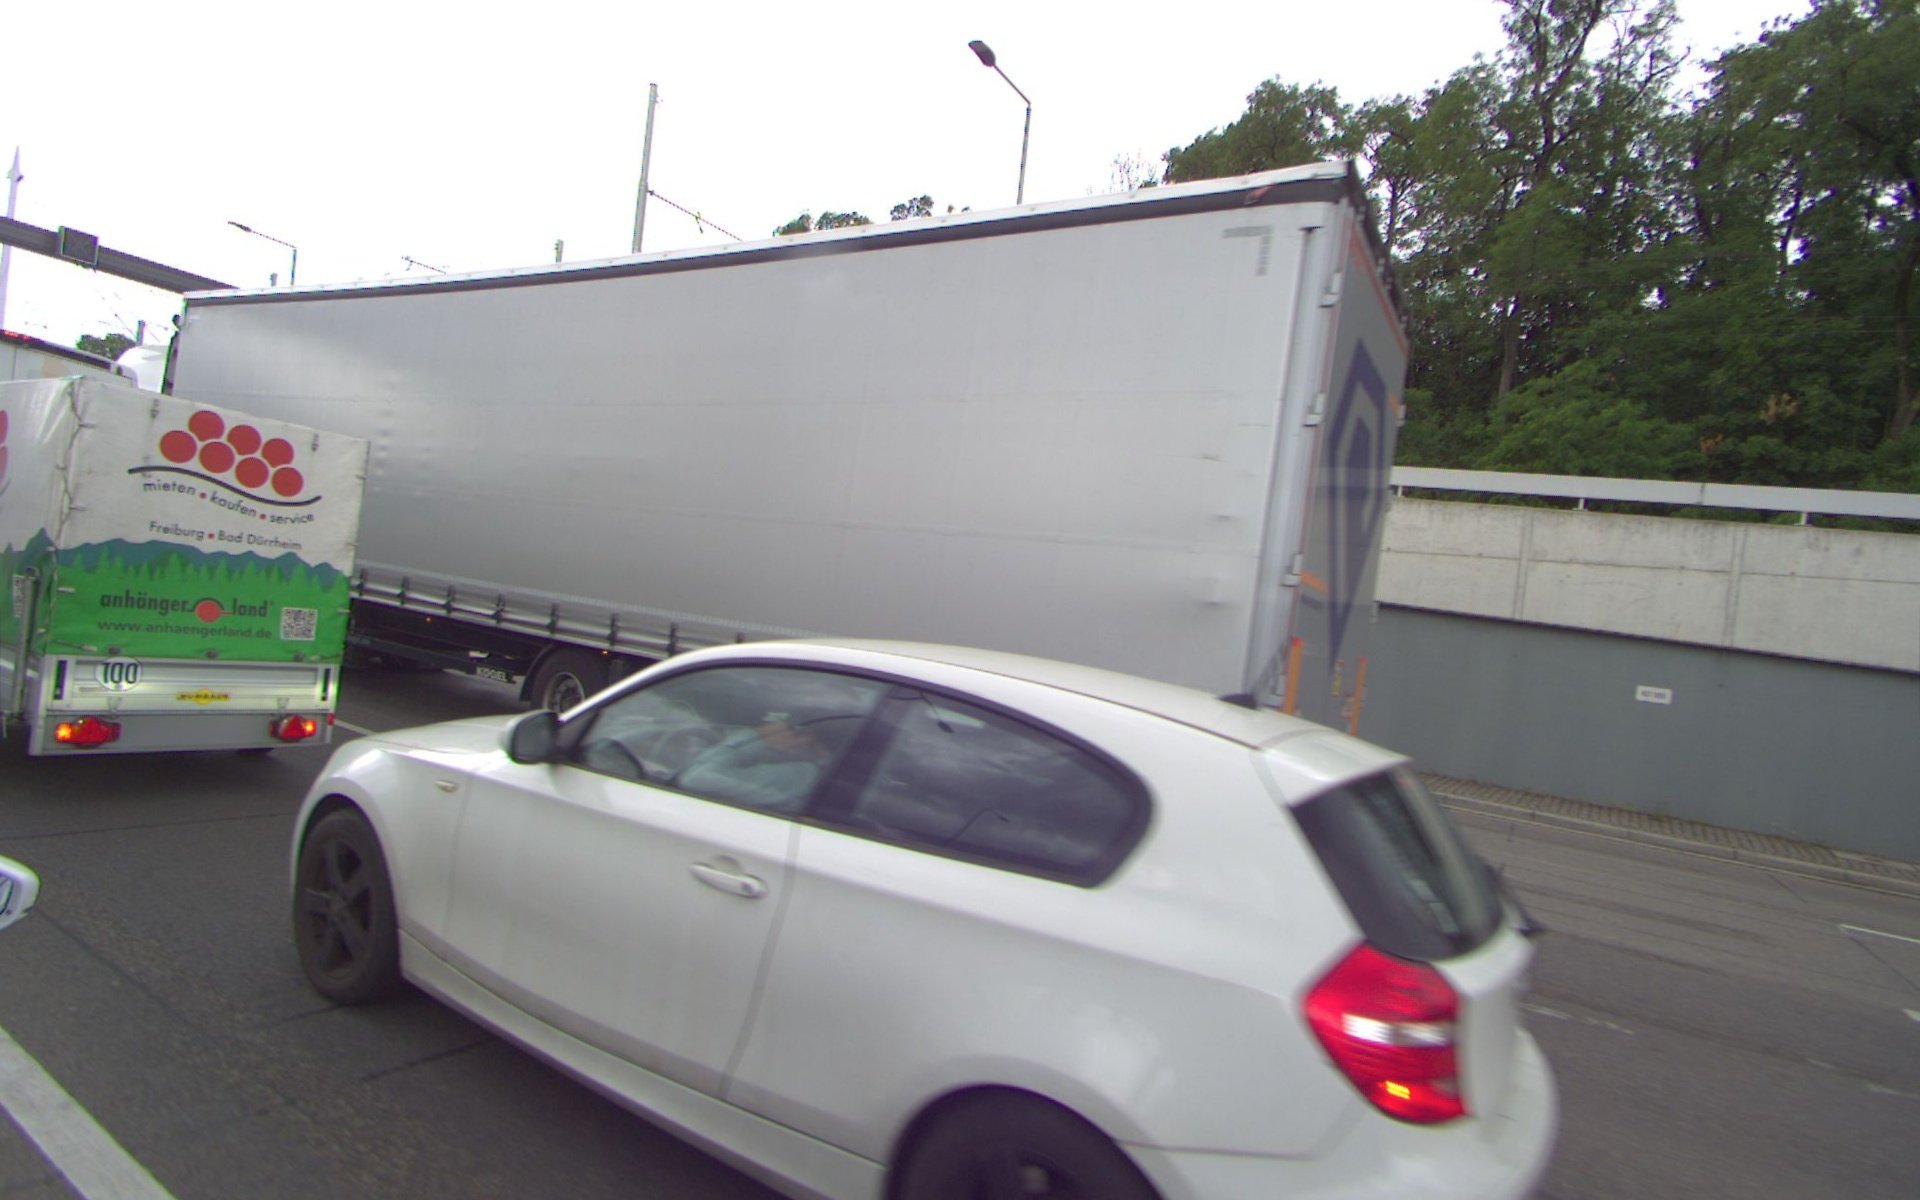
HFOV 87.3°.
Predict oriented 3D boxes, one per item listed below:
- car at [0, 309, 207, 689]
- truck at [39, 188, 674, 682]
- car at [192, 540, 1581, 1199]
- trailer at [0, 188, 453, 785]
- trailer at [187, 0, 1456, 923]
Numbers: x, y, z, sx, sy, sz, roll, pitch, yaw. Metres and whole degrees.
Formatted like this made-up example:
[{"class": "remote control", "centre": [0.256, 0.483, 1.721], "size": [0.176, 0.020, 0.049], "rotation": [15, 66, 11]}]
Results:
[{"class": "car", "centre": [-9.387, -0.980, 8.942], "size": [5.845, 2.655, 2.064], "rotation": [6, -4, 32]}, {"class": "truck", "centre": [-8.056, -1.829, 13.284], "size": [7.319, 4.685, 3.812], "rotation": [7, -2, 32]}, {"class": "car", "centre": [-0.546, 0.768, 3.314], "size": [4.277, 1.414, 1.719], "rotation": [7, -2, 33]}, {"class": "trailer", "centre": [-5.801, -0.593, 6.629], "size": [4.732, 2.670, 2.106], "rotation": [6, -1, 33]}, {"class": "trailer", "centre": [-2.263, -1.151, 9.660], "size": [11.913, 4.685, 3.812], "rotation": [7, -2, 32]}]
